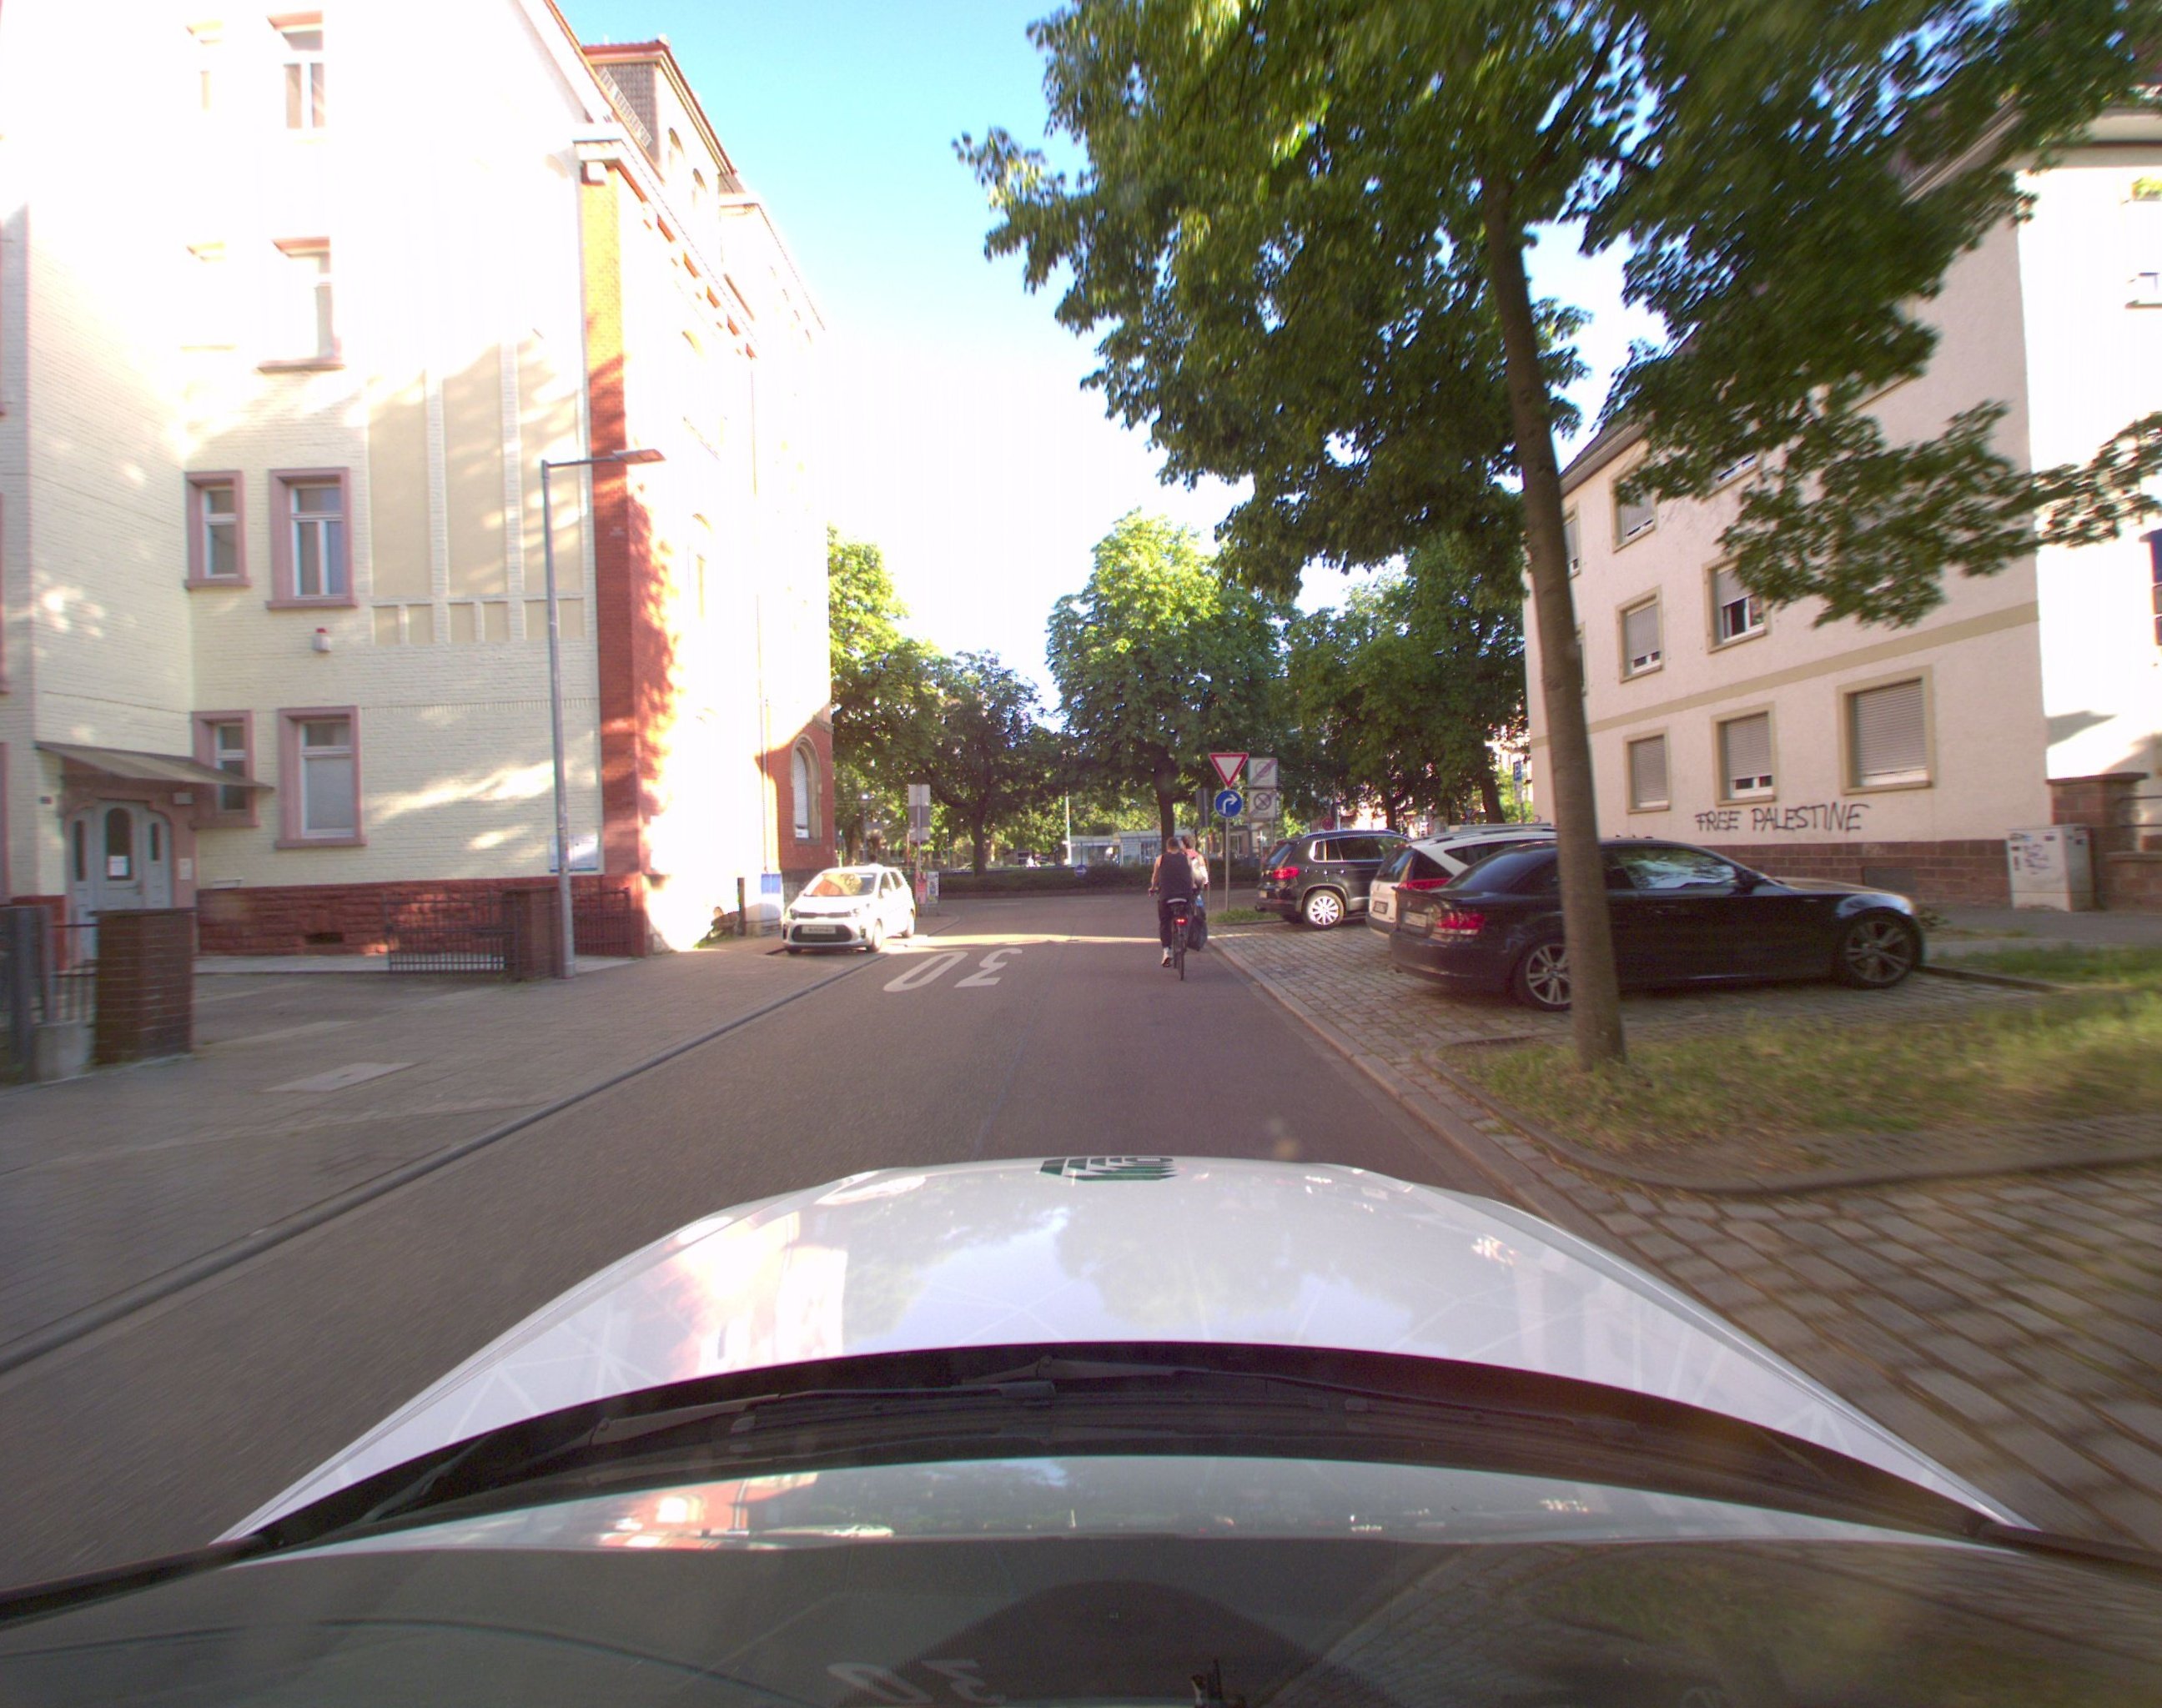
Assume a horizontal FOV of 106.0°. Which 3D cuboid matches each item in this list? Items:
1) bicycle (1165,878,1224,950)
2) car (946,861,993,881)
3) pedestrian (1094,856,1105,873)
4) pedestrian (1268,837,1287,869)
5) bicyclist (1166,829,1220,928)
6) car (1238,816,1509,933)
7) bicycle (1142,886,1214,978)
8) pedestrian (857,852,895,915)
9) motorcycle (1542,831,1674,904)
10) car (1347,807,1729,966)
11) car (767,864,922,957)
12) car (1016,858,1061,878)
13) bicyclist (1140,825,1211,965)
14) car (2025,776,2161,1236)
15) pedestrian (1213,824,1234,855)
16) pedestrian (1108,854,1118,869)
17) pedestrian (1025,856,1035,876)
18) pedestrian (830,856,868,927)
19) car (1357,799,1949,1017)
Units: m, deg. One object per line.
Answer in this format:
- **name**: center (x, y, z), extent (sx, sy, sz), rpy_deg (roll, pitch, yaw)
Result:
- **bicycle**: center (1.816, 0.939, 13.325), extent (0.671, 1.054, 2.061), rpy_deg (-2, -2, 1)
- **car**: center (-10.497, 1.616, 76.932), extent (3.971, 1.679, 1.930), rpy_deg (-2, 0, -42)
- **pedestrian**: center (1.602, 0.933, 71.706), extent (0.809, 1.543, 0.818), rpy_deg (0, -1, -10)
- **pedestrian**: center (10.744, -0.067, 44.452), extent (0.910, 1.684, 0.782), rpy_deg (-3, 0, 11)
- **bicyclist**: center (1.790, 0.392, 13.148), extent (0.669, 1.514, 1.069), rpy_deg (-2, -1, 1)
- **car**: center (5.152, 0.325, 14.740), extent (4.097, 1.712, 2.022), rpy_deg (-4, 0, -3)
- **bicycle**: center (1.210, 0.949, 10.497), extent (0.735, 1.012, 2.062), rpy_deg (0, -1, 2)
- **pedestrian**: center (-5.560, 0.800, 22.151), extent (0.866, 1.643, 0.858), rpy_deg (-2, 0, -8)
- **motorcycle**: center (10.234, 0.246, 15.942), extent (0.974, 1.280, 2.177), rpy_deg (-3, 0, -7)
- **car**: center (5.372, 0.379, 9.995), extent (3.676, 1.651, 1.706), rpy_deg (-2, 0, 4)
- **car**: center (-4.251, 0.949, 15.258), extent (1.698, 1.485, 3.799), rpy_deg (0, 0, 2)
- **car**: center (-4.221, 1.394, 80.976), extent (4.006, 1.870, 1.984), rpy_deg (-2, 0, -24)
- **bicyclist**: center (1.189, 0.500, 10.423), extent (0.749, 1.682, 0.913), rpy_deg (-2, -1, 1)
- **car**: center (5.254, 0.380, 2.096), extent (3.575, 1.505, 1.679), rpy_deg (-4, 0, 2)
- **pedestrian**: center (8.095, -0.840, 46.252), extent (0.887, 1.684, 0.825), rpy_deg (-3, 0, 35)
- **pedestrian**: center (3.707, 0.886, 94.045), extent (0.997, 1.630, 1.064), rpy_deg (-2, 0, 0)
- **pedestrian**: center (-4.372, 1.025, 69.250), extent (0.704, 1.695, 0.666), rpy_deg (0, -1, -20)
- **pedestrian**: center (-5.471, 0.874, 19.242), extent (0.598, 1.605, 0.854), rpy_deg (-2, -1, -2)
- **car**: center (4.919, 0.444, 7.488), extent (4.090, 1.411, 1.793), rpy_deg (-5, 0, 1)
